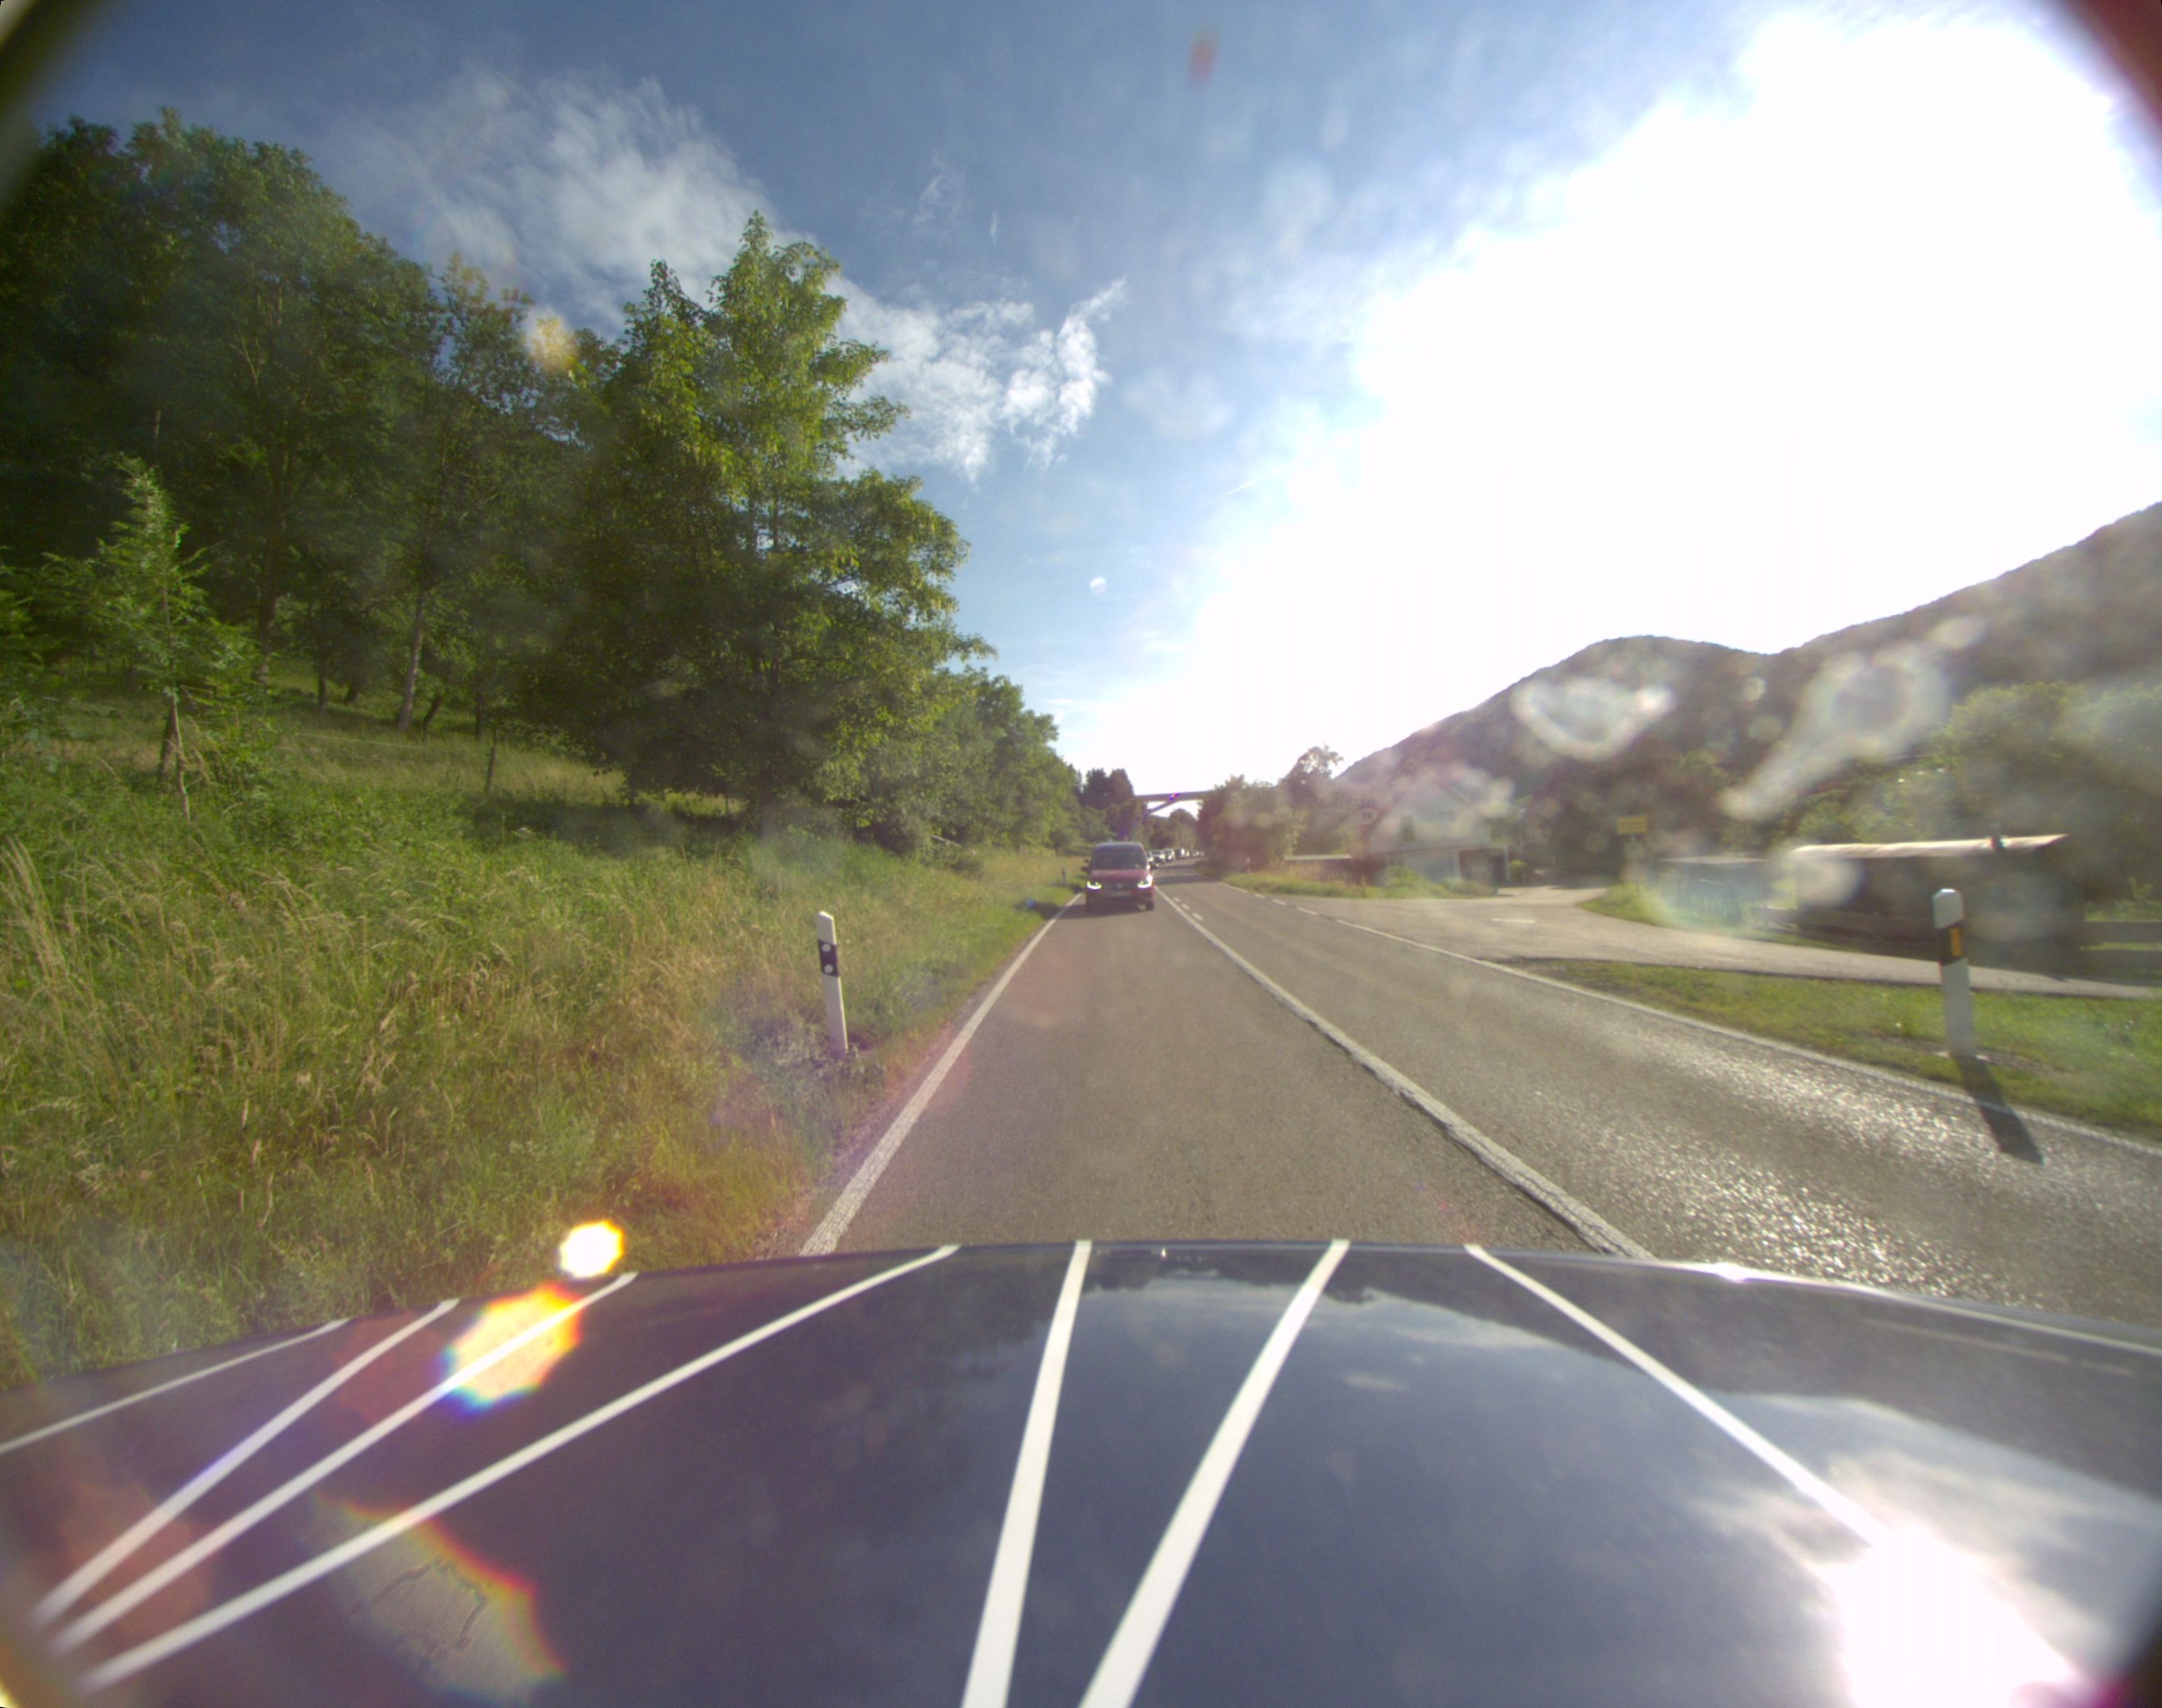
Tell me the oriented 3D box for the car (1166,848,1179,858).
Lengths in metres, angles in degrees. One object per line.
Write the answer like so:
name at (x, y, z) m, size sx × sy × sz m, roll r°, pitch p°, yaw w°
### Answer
car at (14.724, -0.168, 122.164) m, size 1.817 × 1.608 × 4.003 m, roll 0°, pitch 1°, yaw 11°

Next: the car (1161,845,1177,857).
car at (11.450, -0.354, 98.904) m, size 1.840 × 1.543 × 4.180 m, roll 0°, pitch 1°, yaw 9°

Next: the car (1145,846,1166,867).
car at (7.222, 0.227, 73.341) m, size 1.913 × 2.002 × 4.002 m, roll 0°, pitch 1°, yaw 8°

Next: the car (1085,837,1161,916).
car at (1.100, 0.531, 20.616) m, size 1.772 × 1.855 × 3.875 m, roll -3°, pitch 1°, yaw 2°

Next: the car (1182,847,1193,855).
car at (21.053, -0.563, 150.444) m, size 1.840 × 1.543 × 4.181 m, roll 0°, pitch 1°, yaw 11°

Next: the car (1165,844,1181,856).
car at (13.204, -0.563, 108.976) m, size 1.817 × 1.608 × 4.003 m, roll -1°, pitch 1°, yaw 12°

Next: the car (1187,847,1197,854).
car at (24.686, -0.756, 168.796) m, size 1.840 × 1.543 × 4.181 m, roll 0°, pitch 1°, yaw 12°

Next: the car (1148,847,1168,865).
car at (8.681, 0.187, 85.476) m, size 1.913 × 2.002 × 4.002 m, roll 0°, pitch 1°, yaw 9°
